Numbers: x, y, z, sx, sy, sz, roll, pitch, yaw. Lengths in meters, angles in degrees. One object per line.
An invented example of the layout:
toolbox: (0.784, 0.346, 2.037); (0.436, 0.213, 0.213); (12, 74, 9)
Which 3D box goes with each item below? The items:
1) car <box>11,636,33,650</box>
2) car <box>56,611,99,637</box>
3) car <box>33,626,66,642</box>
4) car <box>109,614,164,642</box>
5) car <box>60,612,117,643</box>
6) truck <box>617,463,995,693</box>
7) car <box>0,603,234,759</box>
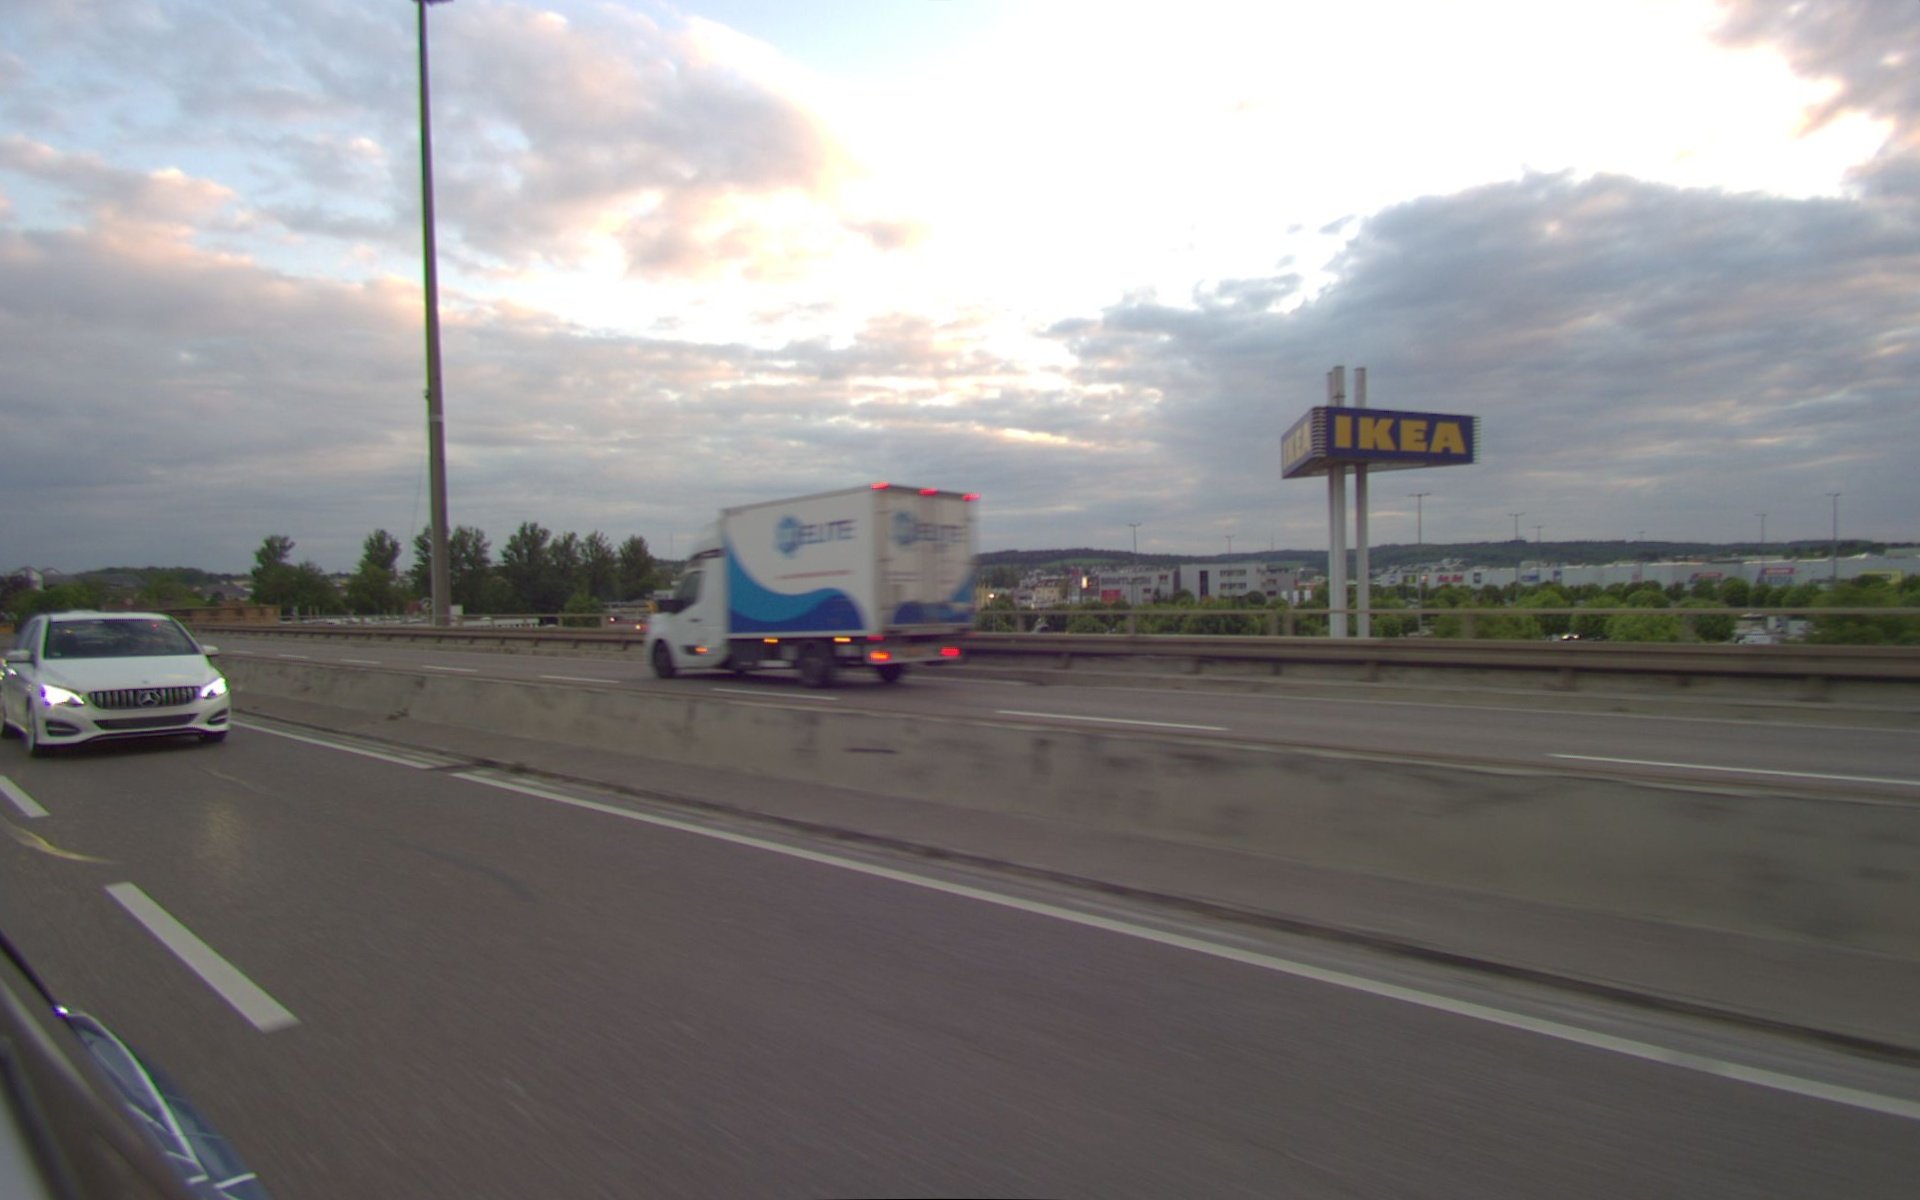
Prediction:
car: (-112.645, 5.140, 121.514); (4.043, 1.606, 1.638); (-1, 0, 43)
car: (-69.750, 1.891, 79.958); (5.458, 1.915, 1.881); (-1, 0, 42)
car: (-86.698, 3.256, 96.346); (4.898, 1.485, 1.809); (-2, -1, 41)
car: (-47.391, 1.579, 58.204); (4.816, 1.514, 1.811); (-1, -1, 43)
car: (-42.493, 1.355, 49.300); (3.834, 1.452, 1.612); (-2, -1, 42)
truck: (-3.034, -0.287, 18.038); (7.444, 3.321, 2.508); (-1, 0, 42)
car: (-10.534, 0.887, 12.322); (4.780, 1.549, 1.673); (-2, -1, 41)
